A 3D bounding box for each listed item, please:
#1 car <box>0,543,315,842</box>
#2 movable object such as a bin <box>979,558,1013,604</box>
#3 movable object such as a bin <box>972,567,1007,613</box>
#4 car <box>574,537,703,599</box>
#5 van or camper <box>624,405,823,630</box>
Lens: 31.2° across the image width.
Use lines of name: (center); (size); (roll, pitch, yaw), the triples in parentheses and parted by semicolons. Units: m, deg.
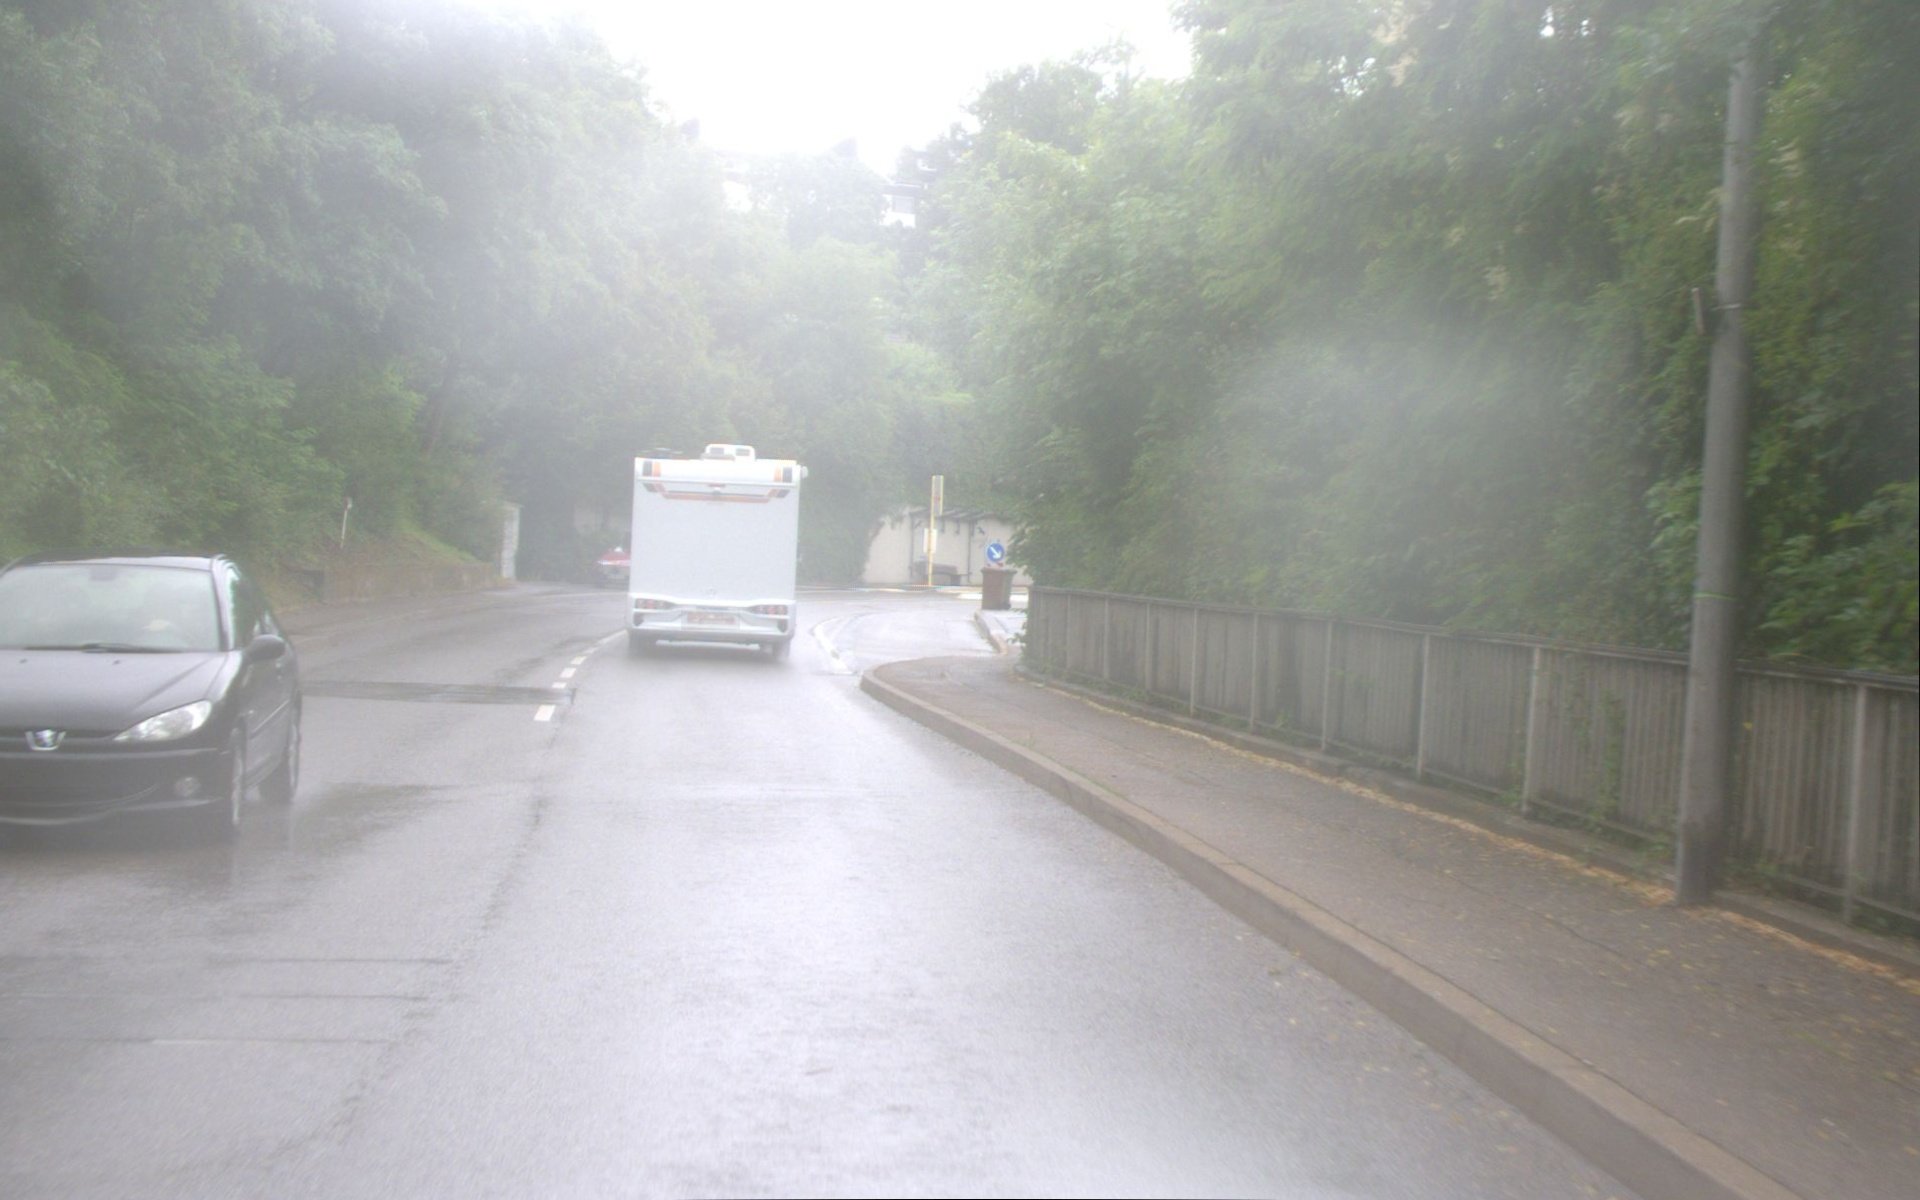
car: (-4.376, 0.406, 17.803); (1.650, 1.380, 3.530); (1, 1, -4)
movable object such as a bin: (0.931, -0.490, 88.292); (0.778, 1.129, 0.738); (3, 1, 5)
movable object such as a bin: (0.755, -0.251, 86.934); (0.778, 1.129, 0.738); (3, 1, 5)
car: (-8.827, -0.885, 94.812); (1.995, 1.556, 4.649); (3, 1, 15)
van or camper: (-3.399, -1.093, 48.233); (2.539, 2.915, 5.949); (-1, 0, -6)
